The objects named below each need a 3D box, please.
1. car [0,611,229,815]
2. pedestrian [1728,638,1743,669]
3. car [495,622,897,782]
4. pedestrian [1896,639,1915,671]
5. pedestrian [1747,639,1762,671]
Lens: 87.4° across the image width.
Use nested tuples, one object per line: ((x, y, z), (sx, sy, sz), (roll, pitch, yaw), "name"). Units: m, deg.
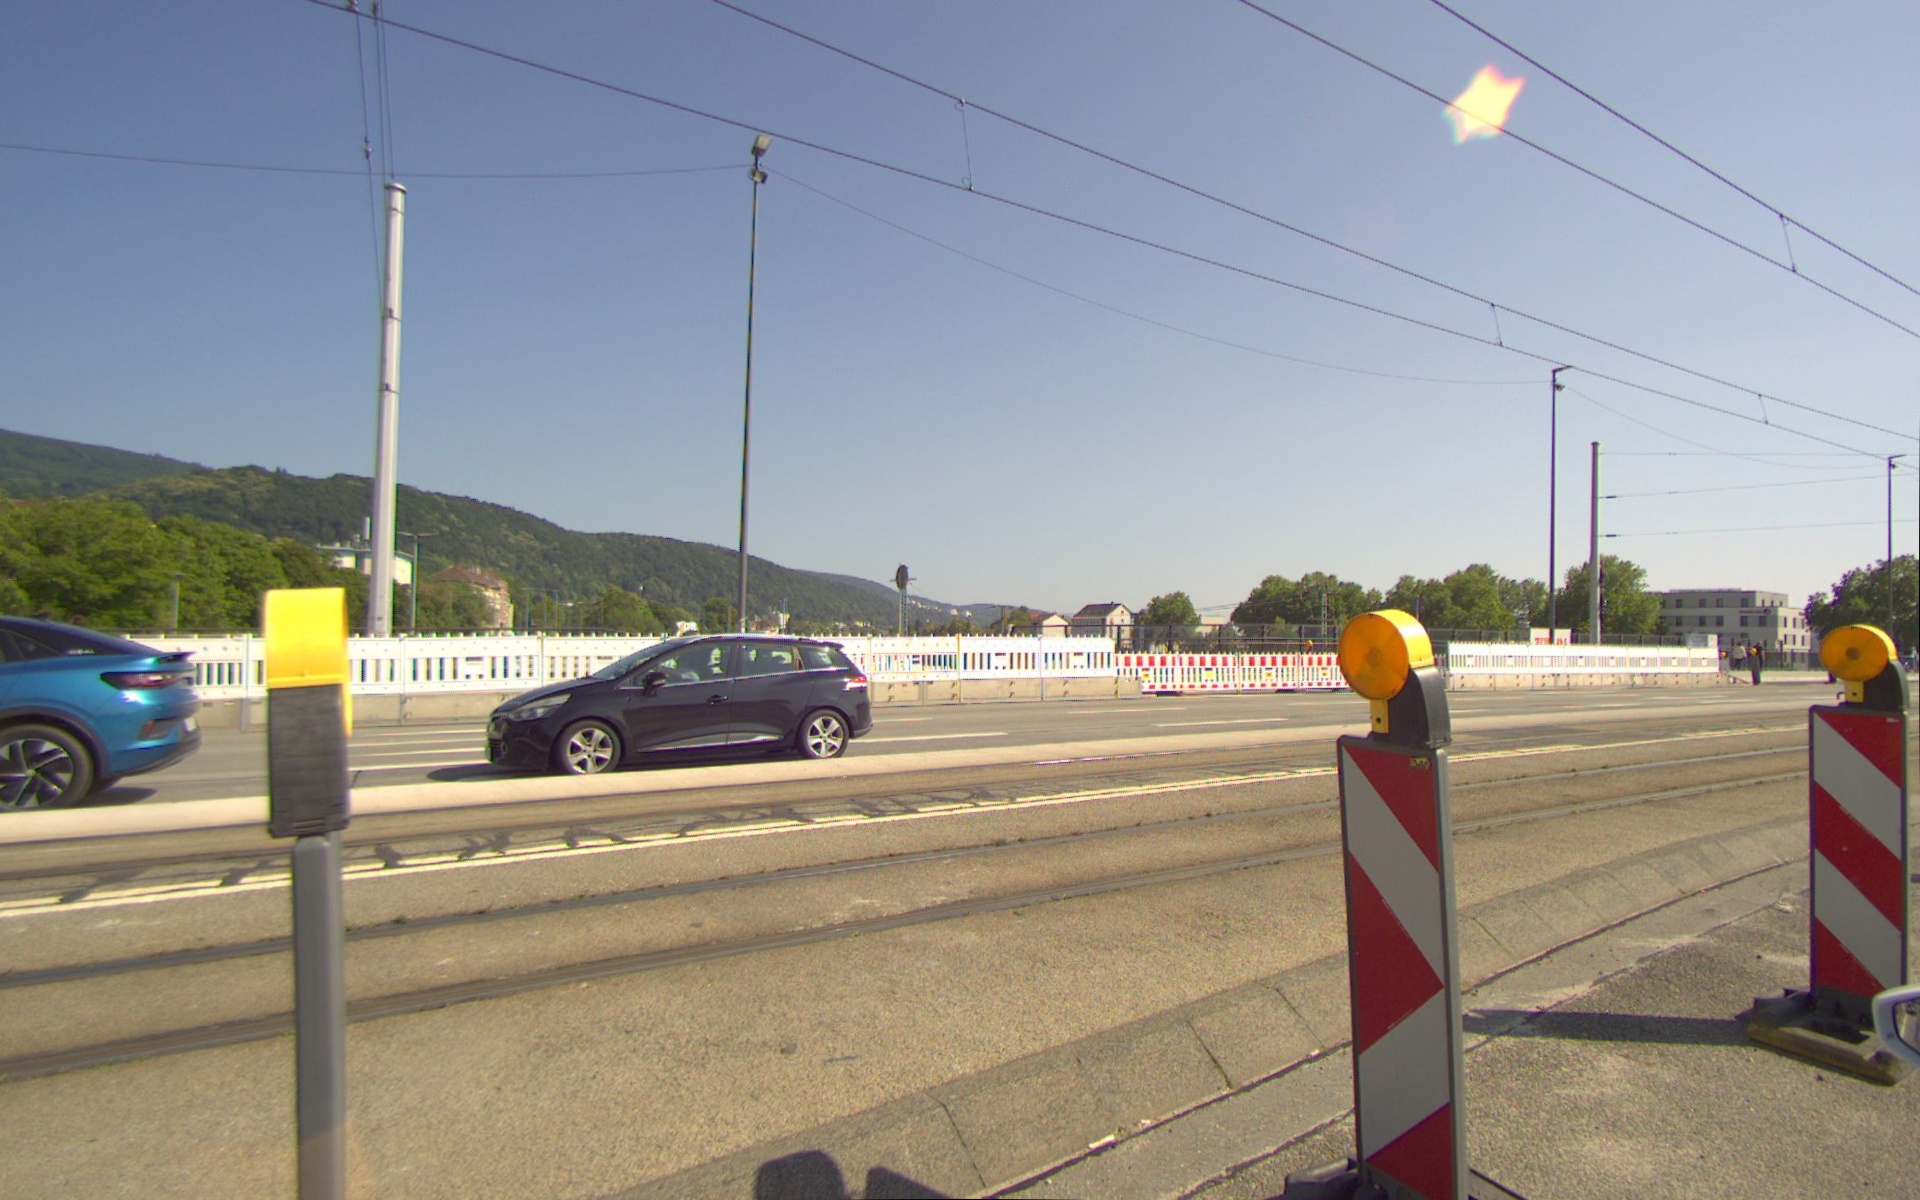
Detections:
((-8.664, 0.876, 7.918), (4.503, 1.570, 1.662), (1, -3, -31), "car")
((43.087, 2.986, 55.826), (0.468, 1.717, 0.493), (3, -1, -30), "pedestrian")
((-2.876, 1.053, 11.311), (4.131, 1.520, 1.497), (2, -3, -32), "car")
((58.228, 3.398, 61.856), (0.743, 1.918, 0.631), (2, -1, -30), "pedestrian")
((43.510, 2.998, 55.023), (0.468, 1.717, 0.493), (3, -1, -30), "pedestrian")
